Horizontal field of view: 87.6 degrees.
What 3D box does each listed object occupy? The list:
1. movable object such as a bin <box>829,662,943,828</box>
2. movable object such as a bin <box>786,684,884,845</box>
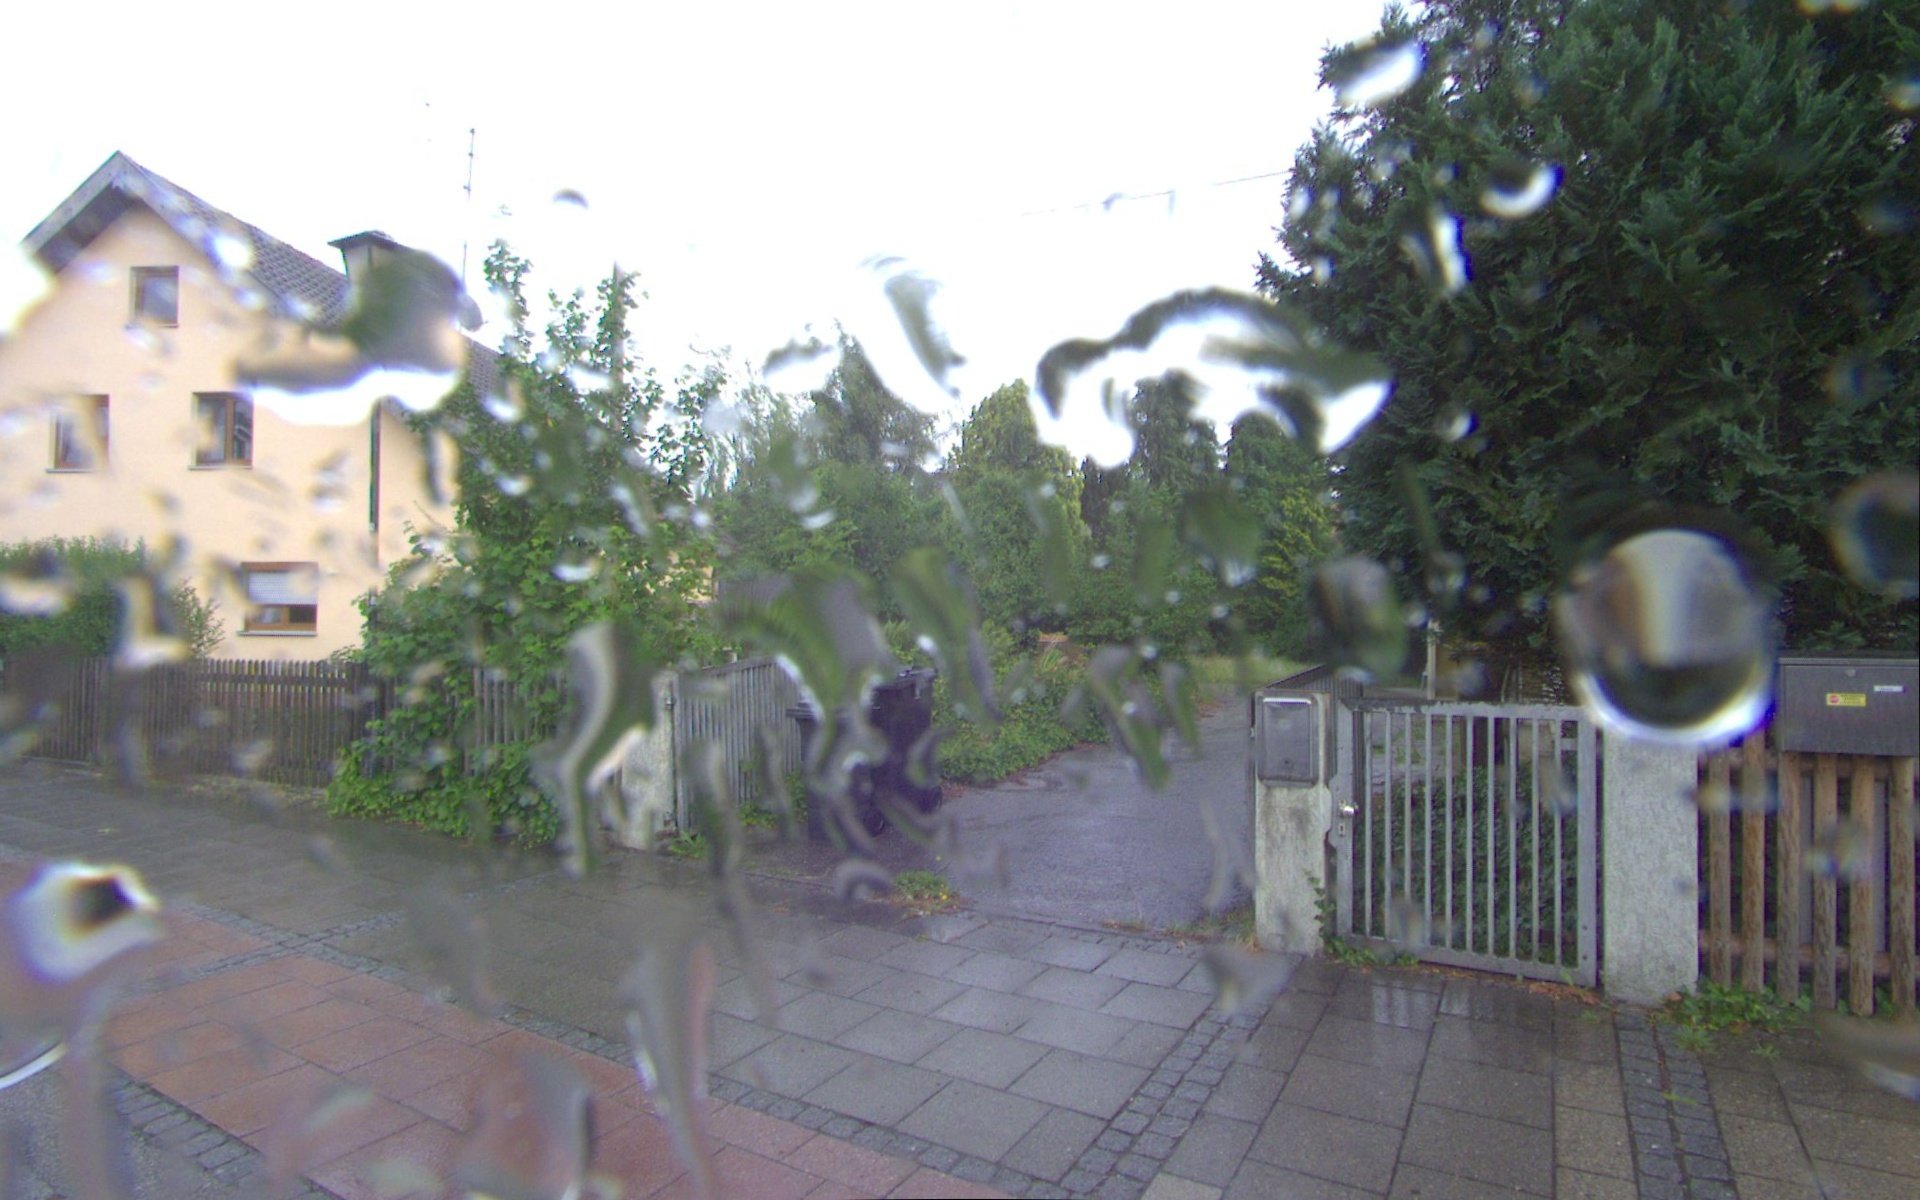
[{"bbox_3d":[-0.511,0.986,7.015,0.545,1.054,0.574,-1,1,33],"label":"movable object such as a bin"},{"bbox_3d":[-0.804,1.044,6.491,0.440,0.948,0.432,-1,1,33],"label":"movable object such as a bin"}]
